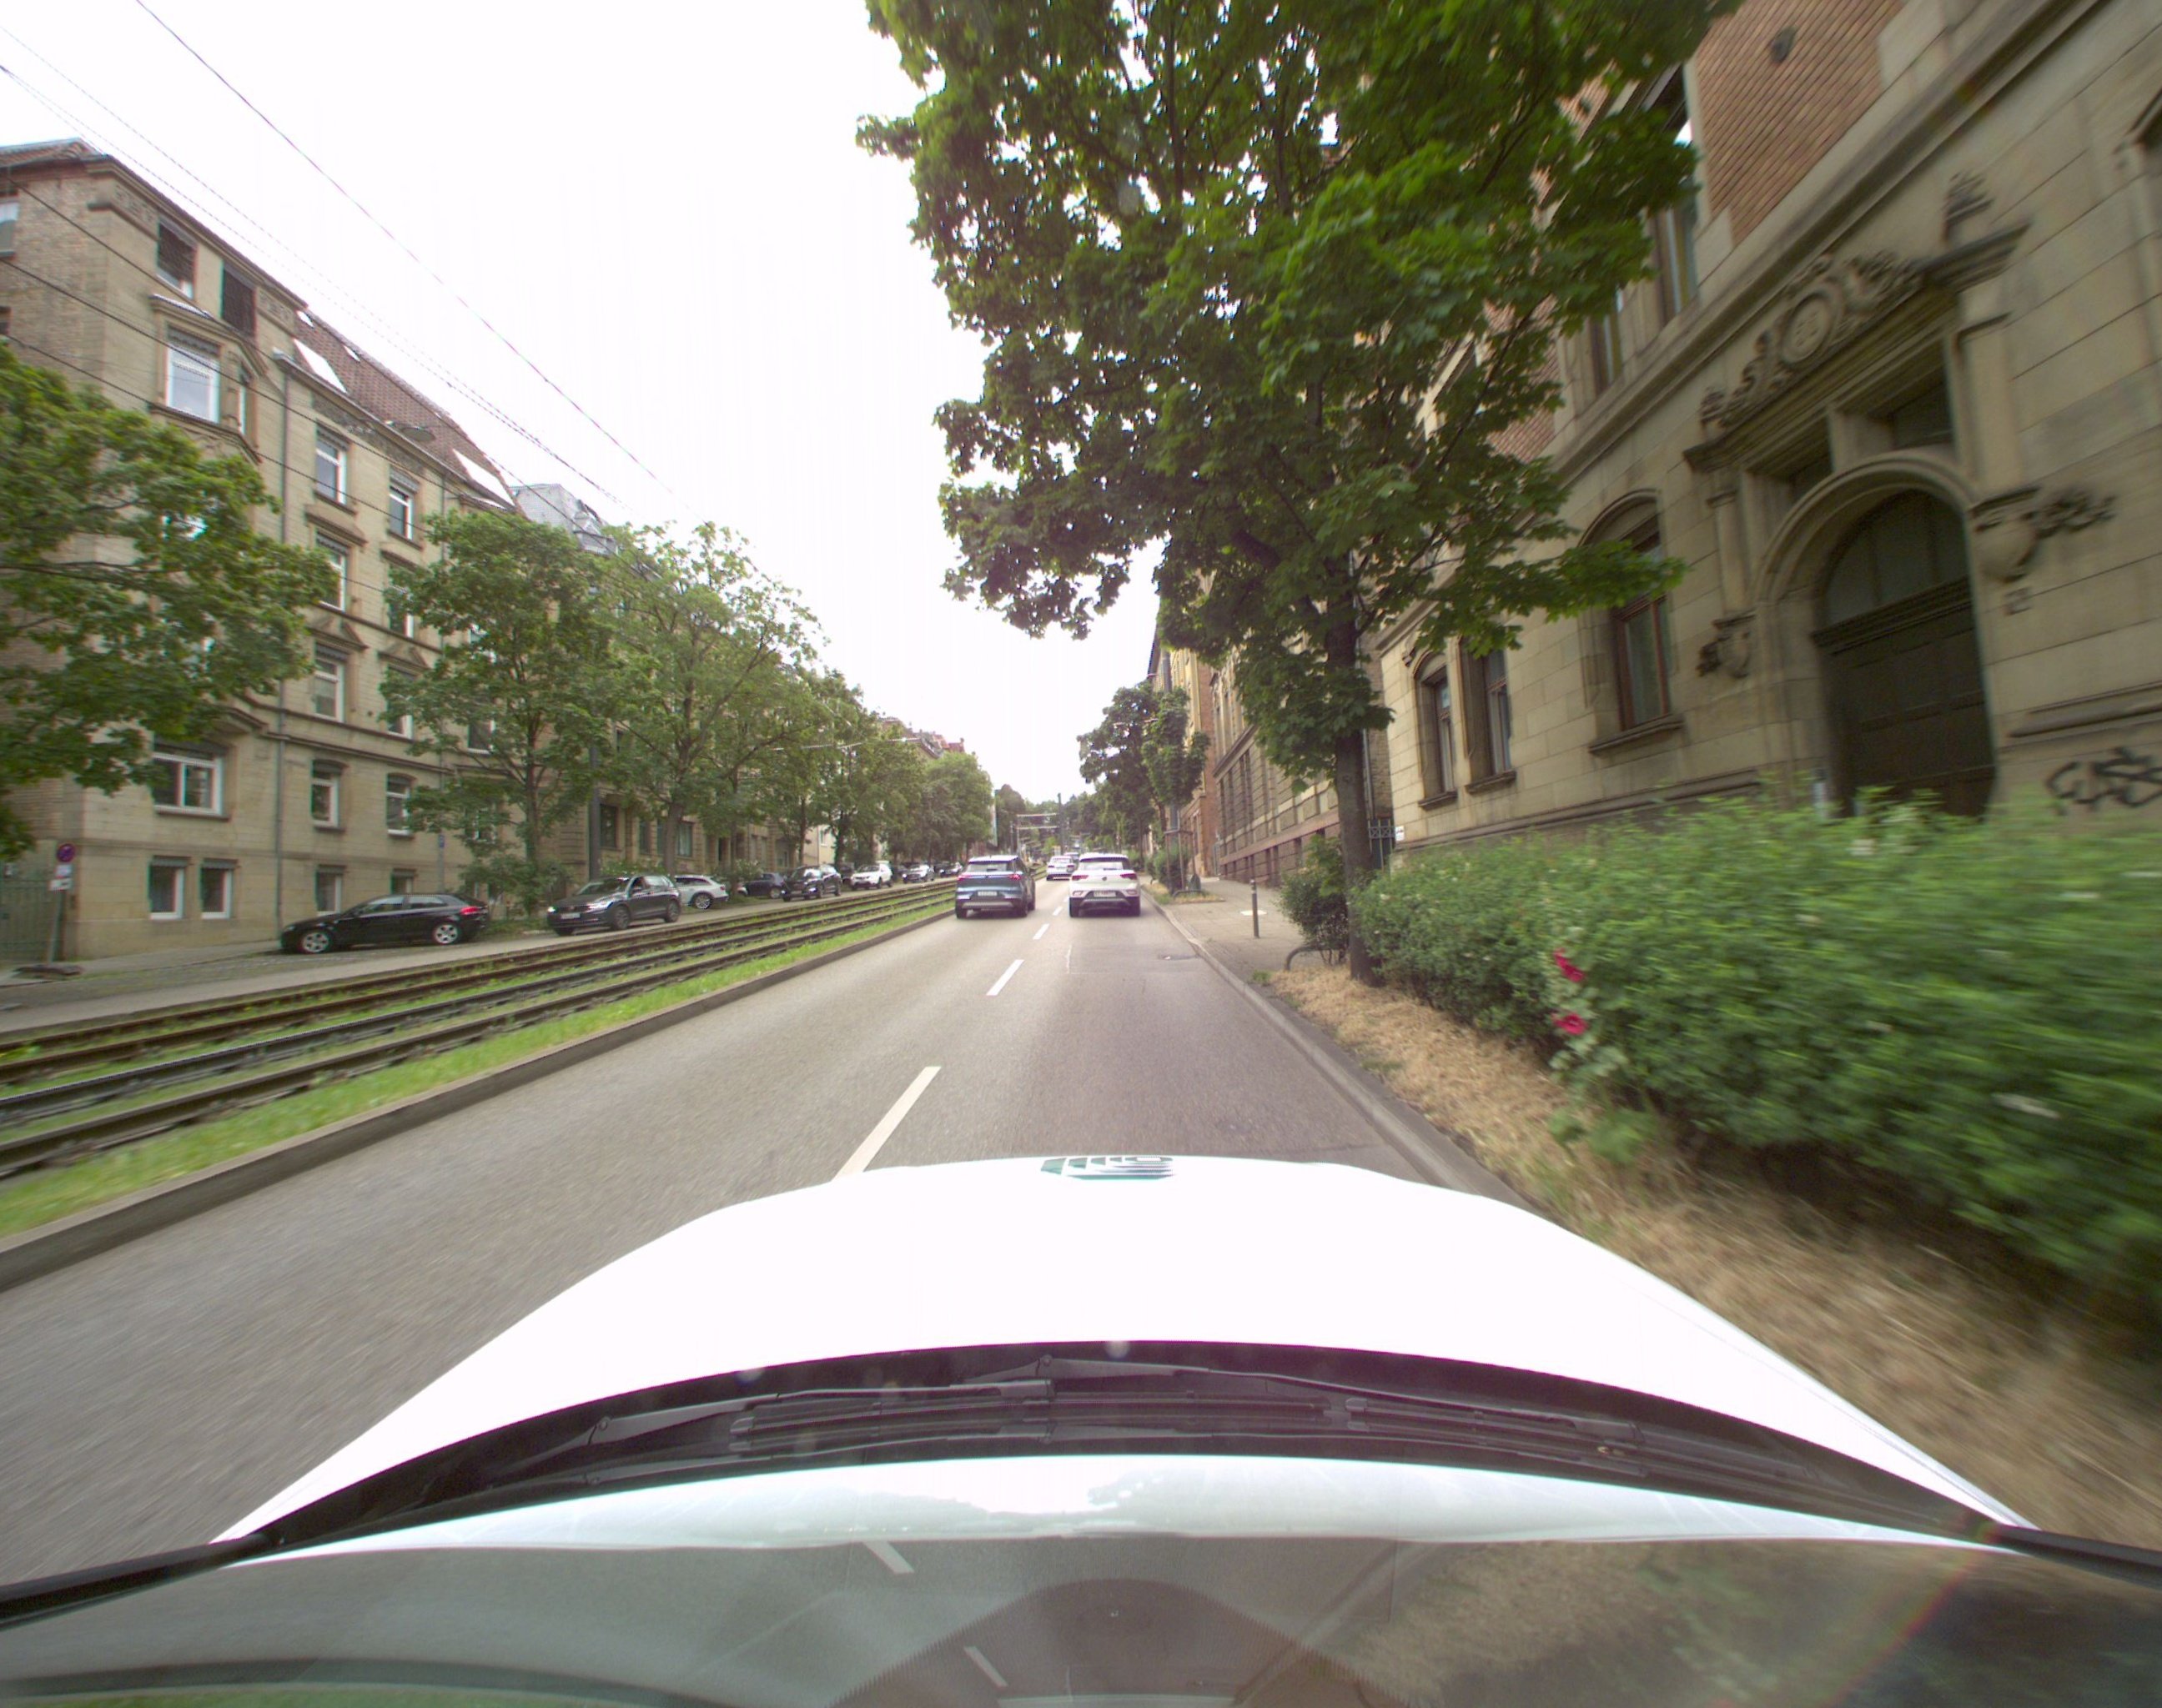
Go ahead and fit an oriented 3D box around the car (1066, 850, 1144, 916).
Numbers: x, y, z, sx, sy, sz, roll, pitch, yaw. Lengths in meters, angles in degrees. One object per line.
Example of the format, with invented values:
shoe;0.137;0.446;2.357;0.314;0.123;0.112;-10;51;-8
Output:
car;0.592;0.704;21.597;1.829;1.546;4.193;-1;0;1

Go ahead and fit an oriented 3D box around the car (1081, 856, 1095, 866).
car;1.106;1.068;128.824;2.061;1.546;4.193;-1;0;0

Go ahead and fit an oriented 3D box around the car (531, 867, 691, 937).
car;-13.540;1.311;23.845;1.873;1.650;4.472;-5;0;1

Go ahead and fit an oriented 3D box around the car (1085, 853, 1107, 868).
car;1.642;0.692;90.043;2.064;1.546;4.188;-1;0;-3

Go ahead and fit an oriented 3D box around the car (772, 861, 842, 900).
car;-13.293;1.264;39.837;1.774;1.657;4.244;-4;0;2

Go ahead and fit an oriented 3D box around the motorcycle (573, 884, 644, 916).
motorcycle;-17.401;1.685;29.998;2.214;1.058;0.619;-1;-1;-33

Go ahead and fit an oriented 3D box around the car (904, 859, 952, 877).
car;-16.046;1.467;85.356;1.912;1.797;4.634;-2;-1;45

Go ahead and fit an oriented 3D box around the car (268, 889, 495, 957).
car;-18.130;1.732;21.379;4.195;1.364;1.696;-3;0;-29

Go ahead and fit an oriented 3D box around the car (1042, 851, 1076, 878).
car;-1.298;0.624;50.324;1.829;1.546;4.195;-1;0;2

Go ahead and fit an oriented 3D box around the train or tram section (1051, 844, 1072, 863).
train or tram section;-3.630;-0.120;155.722;2.984;3.349;13.447;-3;0;3

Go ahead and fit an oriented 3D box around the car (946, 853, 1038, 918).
car;-2.267;0.773;21.789;1.829;1.546;4.195;-1;0;2

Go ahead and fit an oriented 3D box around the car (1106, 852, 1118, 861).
car;5.146;0.416;135.616;2.060;1.546;4.195;-1;0;2

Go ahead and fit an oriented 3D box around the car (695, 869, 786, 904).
car;-17.858;1.684;42.749;4.169;1.469;1.768;-4;0;-31

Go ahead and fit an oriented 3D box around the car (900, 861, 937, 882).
car;-12.623;1.342;63.638;1.718;1.410;4.599;-4;0;2

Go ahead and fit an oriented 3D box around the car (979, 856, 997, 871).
car;-10.514;1.058;92.163;1.582;1.435;3.413;-4;0;1

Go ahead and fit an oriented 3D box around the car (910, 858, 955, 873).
car;-16.672;1.297;91.354;4.624;1.617;1.916;-1;-1;-33

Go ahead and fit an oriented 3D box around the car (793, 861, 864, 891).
car;-17.028;1.469;54.967;4.203;1.767;1.854;-3;0;-29

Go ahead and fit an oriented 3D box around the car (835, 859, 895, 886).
car;-16.881;1.414;63.599;4.199;1.836;1.856;-3;0;-26

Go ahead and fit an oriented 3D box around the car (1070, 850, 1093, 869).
car;0.055;0.491;69.832;1.829;1.546;4.195;-1;0;2

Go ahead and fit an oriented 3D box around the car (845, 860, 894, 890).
car;-13.272;1.288;51.385;1.774;1.616;4.347;-4;0;2

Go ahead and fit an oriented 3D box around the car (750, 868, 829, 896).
car;-17.477;1.655;48.904;4.203;1.435;1.854;-3;0;-29

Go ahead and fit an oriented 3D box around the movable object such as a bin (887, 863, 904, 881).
movable object such as a bin;-15.213;1.481;66.729;1.276;1.401;1.091;-2;-1;-15
